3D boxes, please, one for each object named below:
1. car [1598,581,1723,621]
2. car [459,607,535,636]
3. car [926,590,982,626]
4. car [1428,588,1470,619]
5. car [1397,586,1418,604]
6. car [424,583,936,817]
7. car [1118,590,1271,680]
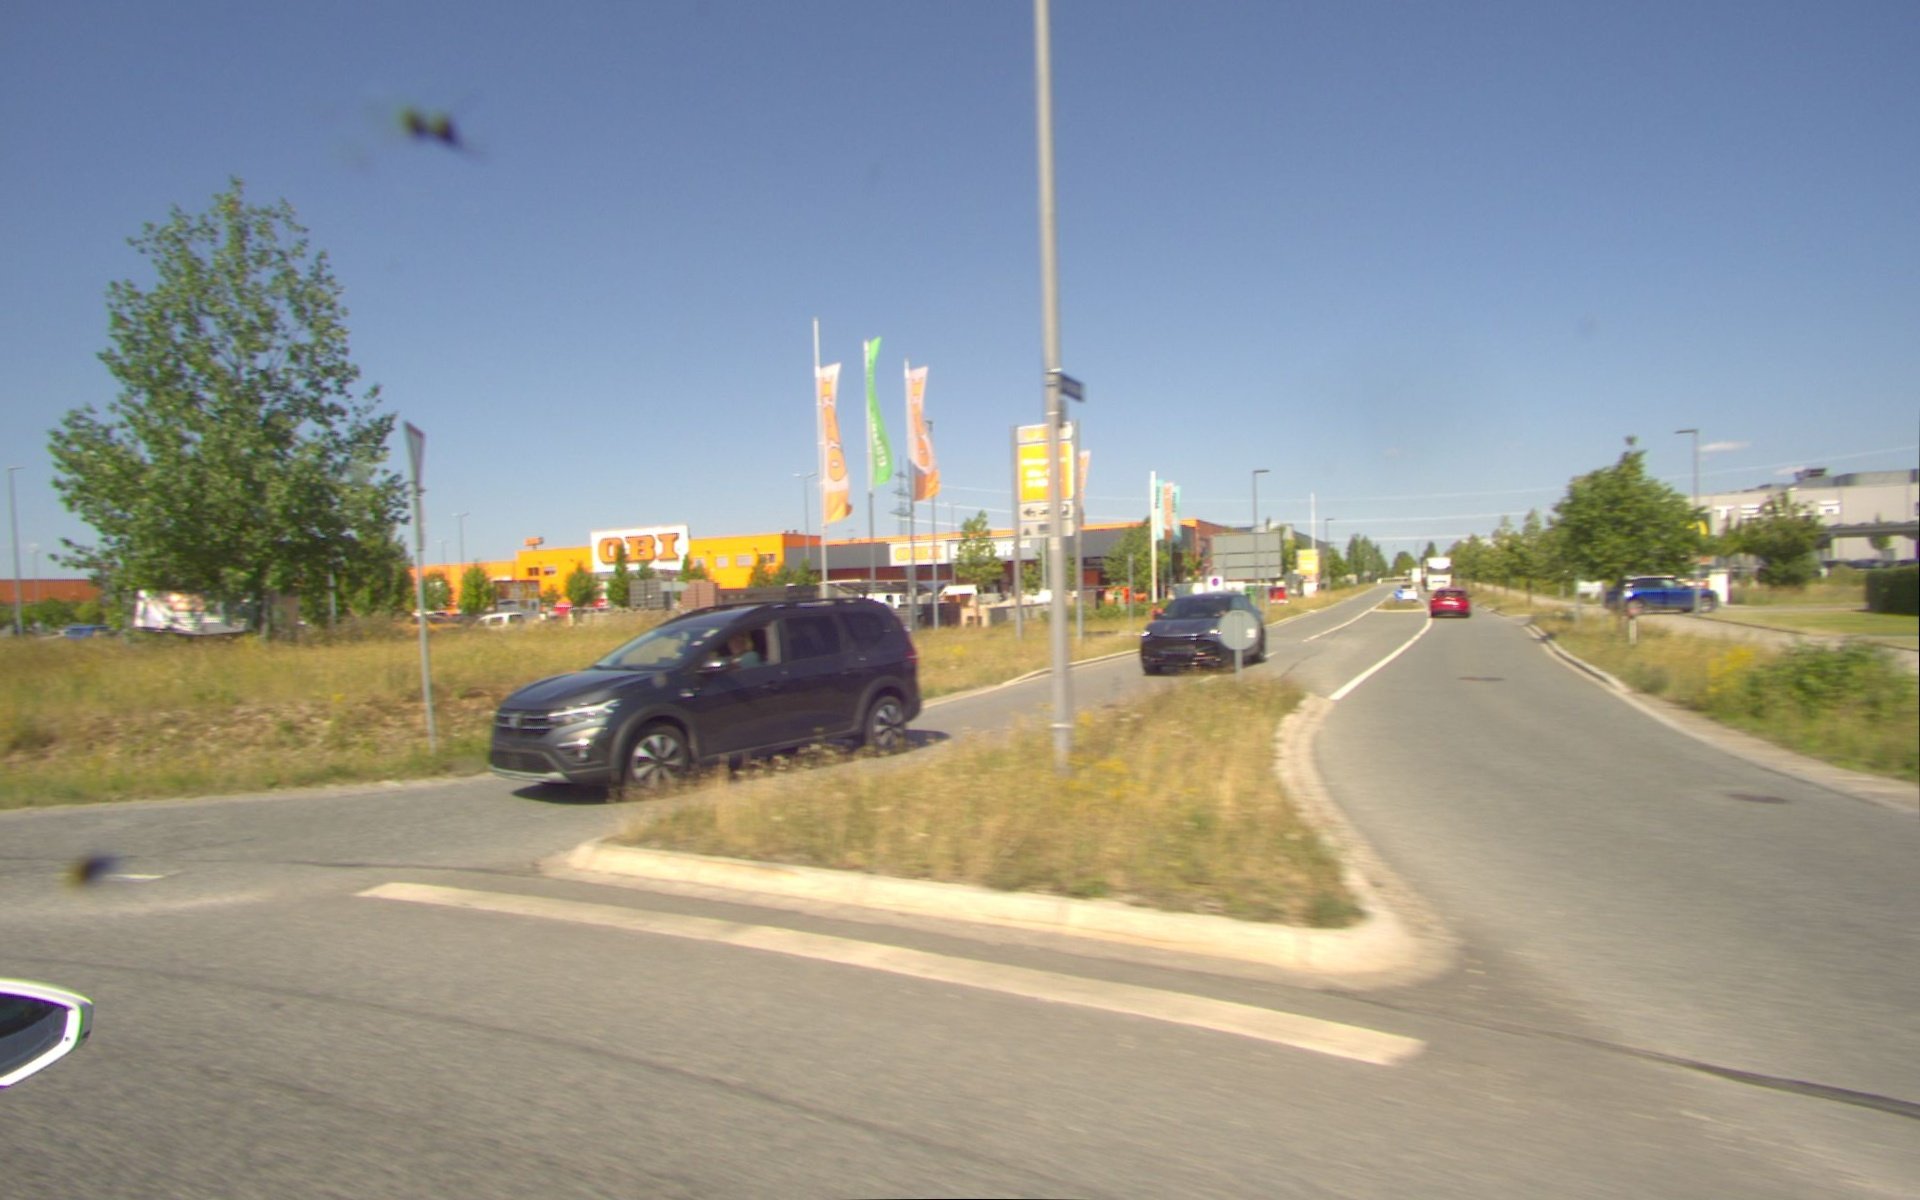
[{"bbox_3d":[30.198,0.040,43.315,4.004,1.657,1.855,0,1,13],"label":"car"},{"bbox_3d":[-29.046,1.351,62.893,3.926,1.639,1.997,-2,1,13],"label":"car"},{"bbox_3d":[-0.291,0.454,54.171,1.672,1.865,3.764,-1,-1,23],"label":"car"},{"bbox_3d":[24.167,0.132,49.490,1.779,1.435,4.101,0,1,26],"label":"car"},{"bbox_3d":[37.111,-0.422,83.107,1.489,1.460,3.340,-1,0,23],"label":"car"},{"bbox_3d":[-2.438,0.783,9.839,1.933,1.728,4.595,-2,-2,37],"label":"car"},{"bbox_3d":[5.173,0.680,21.583,2.047,1.648,4.676,-3,0,28],"label":"car"}]
